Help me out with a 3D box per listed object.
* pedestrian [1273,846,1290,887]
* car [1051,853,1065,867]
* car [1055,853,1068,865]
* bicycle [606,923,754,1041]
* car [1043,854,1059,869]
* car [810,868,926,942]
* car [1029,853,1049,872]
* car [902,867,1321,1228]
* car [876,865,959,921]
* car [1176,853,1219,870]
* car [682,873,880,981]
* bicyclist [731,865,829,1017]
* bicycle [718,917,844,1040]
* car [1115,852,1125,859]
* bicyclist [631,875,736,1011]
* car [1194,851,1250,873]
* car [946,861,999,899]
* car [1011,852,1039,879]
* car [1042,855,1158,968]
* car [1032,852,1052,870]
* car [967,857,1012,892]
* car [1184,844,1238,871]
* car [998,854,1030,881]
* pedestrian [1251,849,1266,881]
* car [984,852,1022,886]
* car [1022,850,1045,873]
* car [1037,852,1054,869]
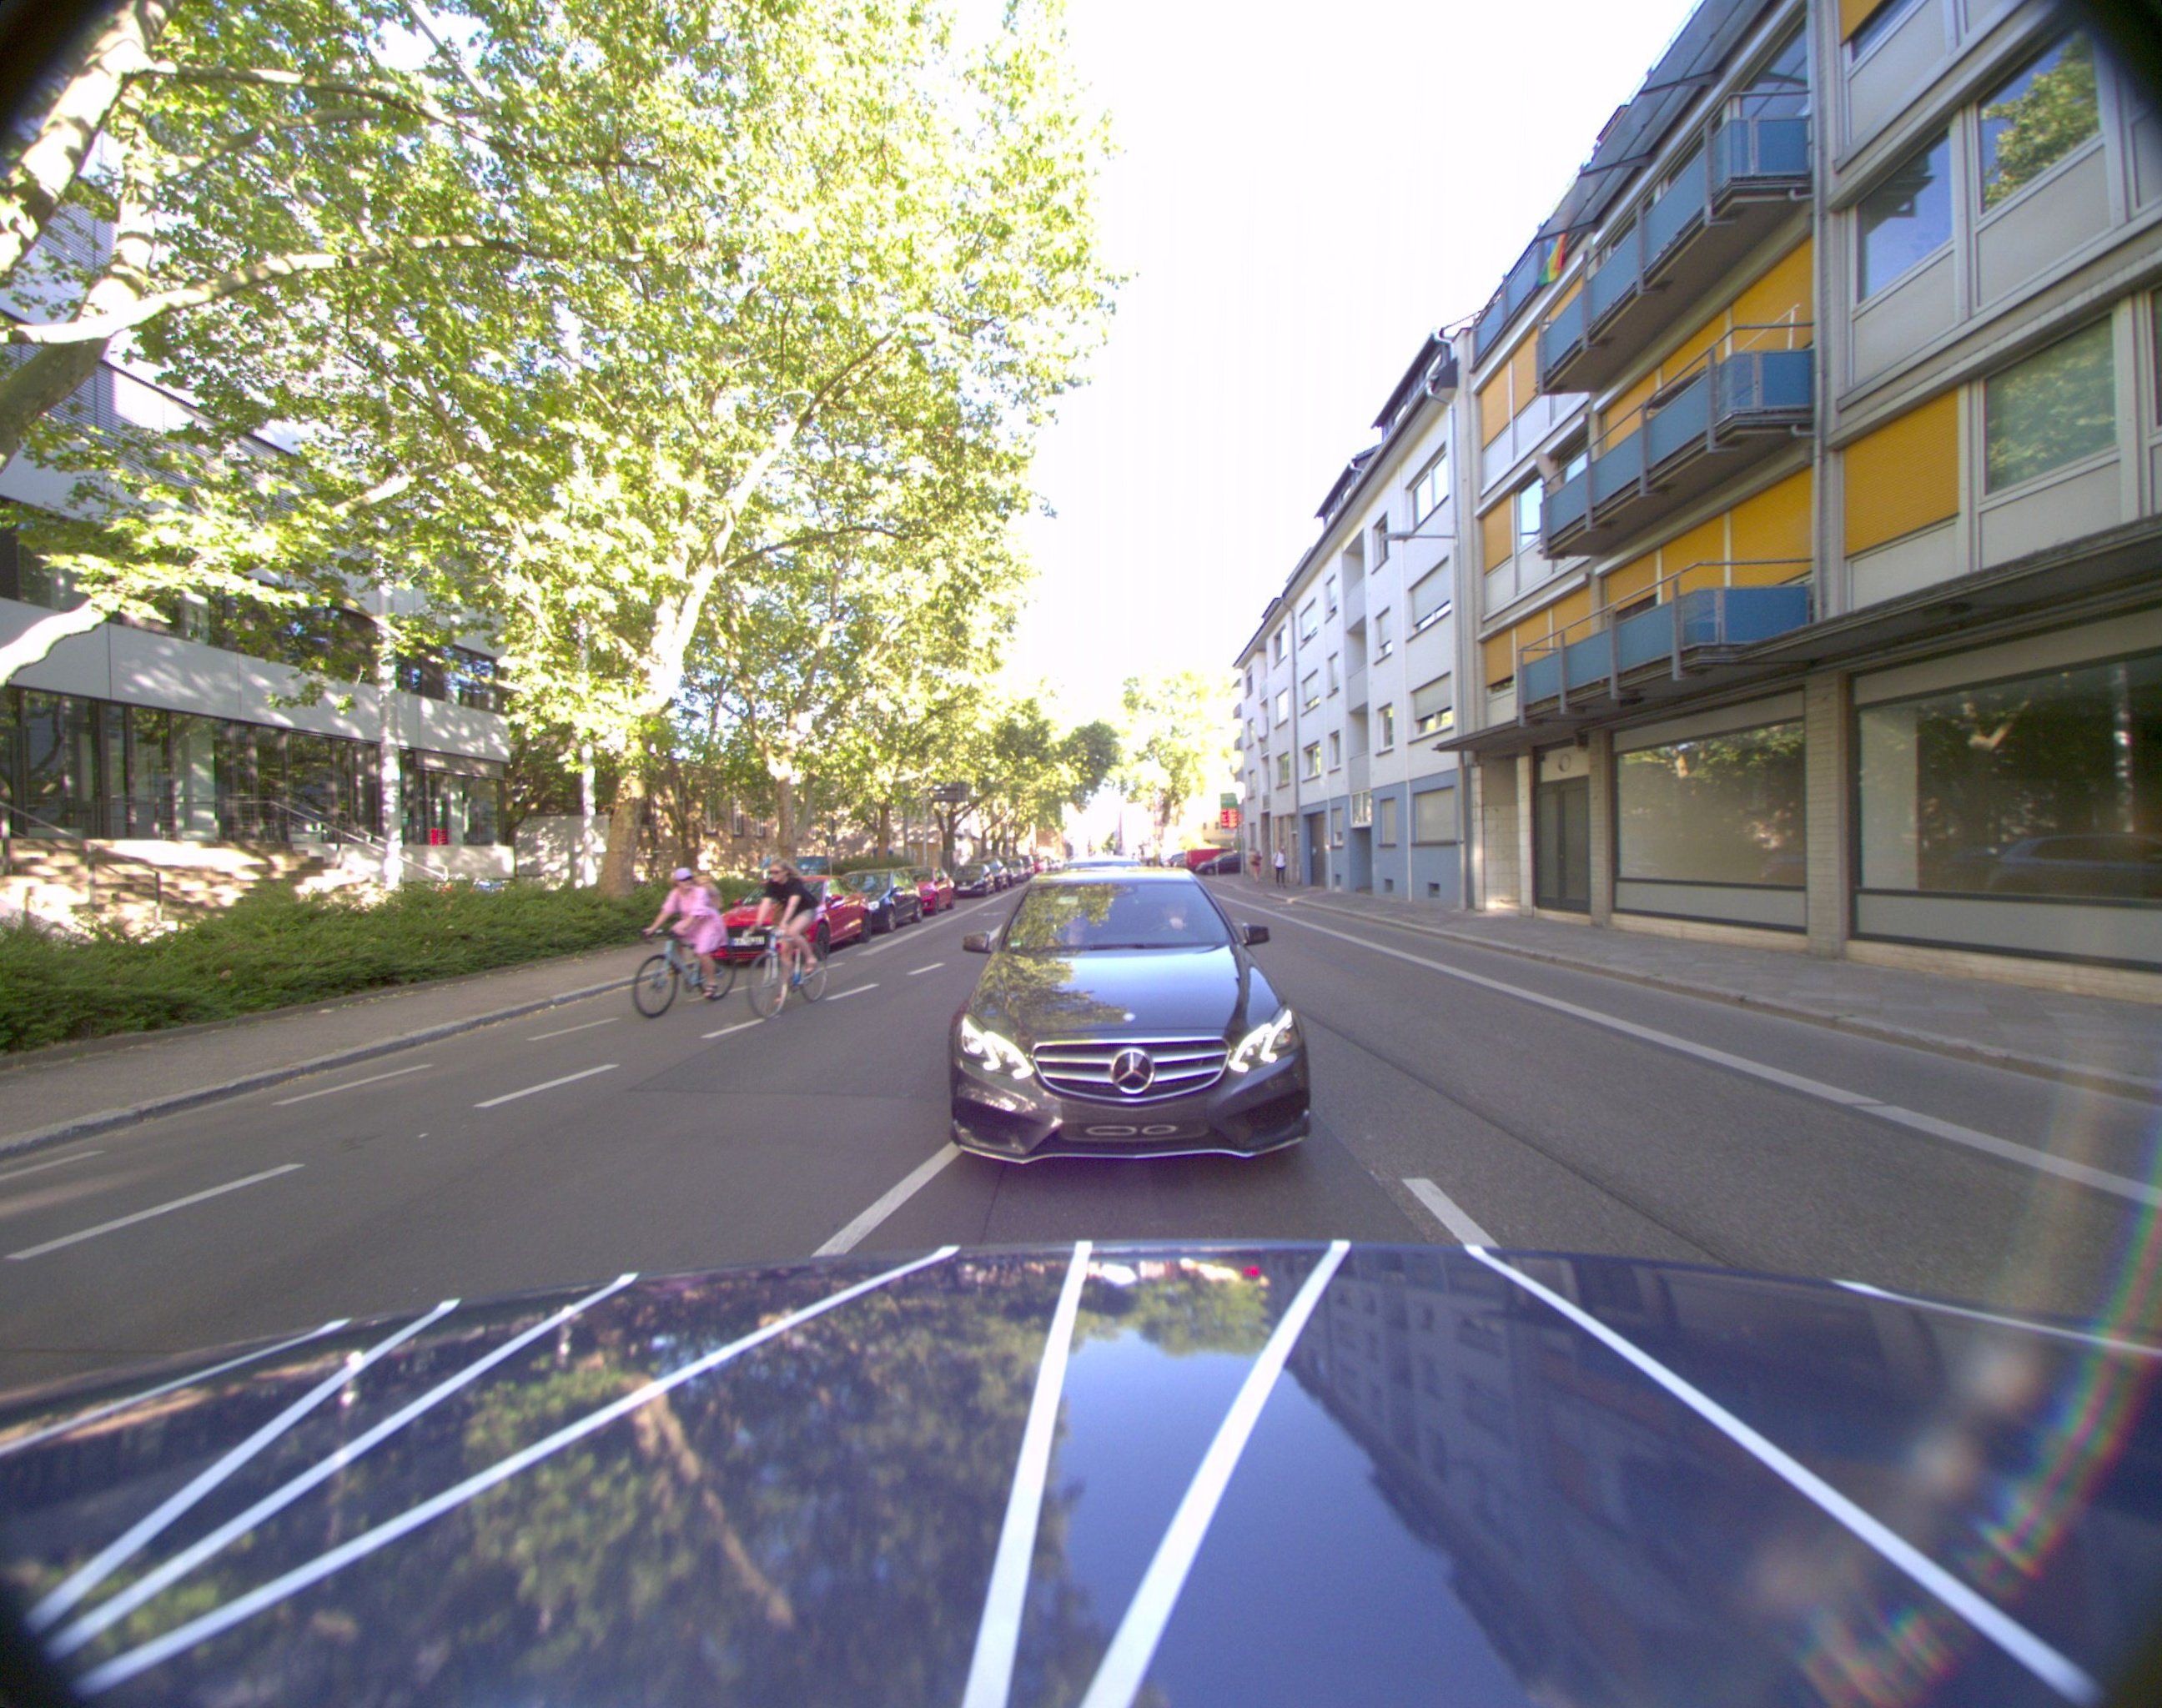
[{"bbox_3d":[8.499,0.518,32.240,0.569,1.716,0.343,-3,1,1],"label":"pedestrian"},{"bbox_3d":[-3.049,0.784,102.847,1.635,1.713,3.673,-3,0,1],"label":"car"},{"bbox_3d":[-2.747,0.707,109.994,1.635,1.713,3.673,-3,0,1],"label":"car"},{"bbox_3d":[-4.436,1.371,8.578,0.602,0.979,1.881,-3,0,1],"label":"bicycle"},{"bbox_3d":[-3.637,0.920,92.553,1.635,1.713,3.673,-3,0,1],"label":"car"},{"bbox_3d":[-5.025,1.148,18.421,1.635,1.455,3.740,-3,0,1],"label":"car"},{"bbox_3d":[-3.938,0.778,71.750,1.635,1.713,3.673,-3,0,1],"label":"car"},{"bbox_3d":[0.165,0.906,5.469,1.804,1.455,4.125,-3,0,1],"label":"car"},{"bbox_3d":[-4.996,1.145,23.692,1.635,1.455,3.740,-3,0,1],"label":"car"},{"bbox_3d":[9.573,0.630,62.669,3.325,1.241,1.295,-3,0,1],"label":"car"},{"bbox_3d":[-5.143,1.163,13.701,1.804,1.455,4.125,-3,0,1],"label":"car"},{"bbox_3d":[-3.212,0.894,8.177,0.612,1.507,0.889,-3,1,1],"label":"bicyclist"},{"bbox_3d":[-3.189,1.288,8.258,0.612,1.020,1.731,-3,0,1],"label":"bicycle"},{"bbox_3d":[8.651,0.234,168.982,1.853,1.455,4.099,-3,0,1],"label":"car"},{"bbox_3d":[-4.452,0.969,8.576,0.602,1.393,0.931,-3,1,1],"label":"bicyclist"},{"bbox_3d":[10.116,0.551,54.733,3.670,1.403,1.636,-3,0,1],"label":"car"},{"bbox_3d":[-4.679,1.093,33.253,1.635,1.455,3.740,-3,0,1],"label":"car"},{"bbox_3d":[-4.079,0.827,55.505,1.635,1.799,3.673,-3,0,1],"label":"car"},{"bbox_3d":[0.319,0.880,13.658,1.680,1.622,4.125,-3,0,1],"label":"car"},{"bbox_3d":[-3.990,0.711,78.182,1.635,1.713,3.673,-3,0,1],"label":"car"},{"bbox_3d":[-4.534,0.970,38.064,1.635,1.578,3.845,-3,0,1],"label":"car"},{"bbox_3d":[10.226,0.254,59.972,3.927,1.912,1.636,-3,0,1],"label":"car"},{"bbox_3d":[-4.425,0.895,50.721,1.635,1.644,3.845,-3,0,1],"label":"car"},{"bbox_3d":[8.534,0.516,36.601,0.569,1.509,0.343,-3,1,1],"label":"pedestrian"},{"bbox_3d":[-4.491,0.852,44.221,1.635,1.795,3.845,-3,0,1],"label":"car"},{"bbox_3d":[-4.134,0.637,66.106,1.635,1.878,3.673,-3,0,1],"label":"car"},{"bbox_3d":[-3.958,0.713,85.934,1.635,1.713,3.673,-3,0,1],"label":"car"}]
